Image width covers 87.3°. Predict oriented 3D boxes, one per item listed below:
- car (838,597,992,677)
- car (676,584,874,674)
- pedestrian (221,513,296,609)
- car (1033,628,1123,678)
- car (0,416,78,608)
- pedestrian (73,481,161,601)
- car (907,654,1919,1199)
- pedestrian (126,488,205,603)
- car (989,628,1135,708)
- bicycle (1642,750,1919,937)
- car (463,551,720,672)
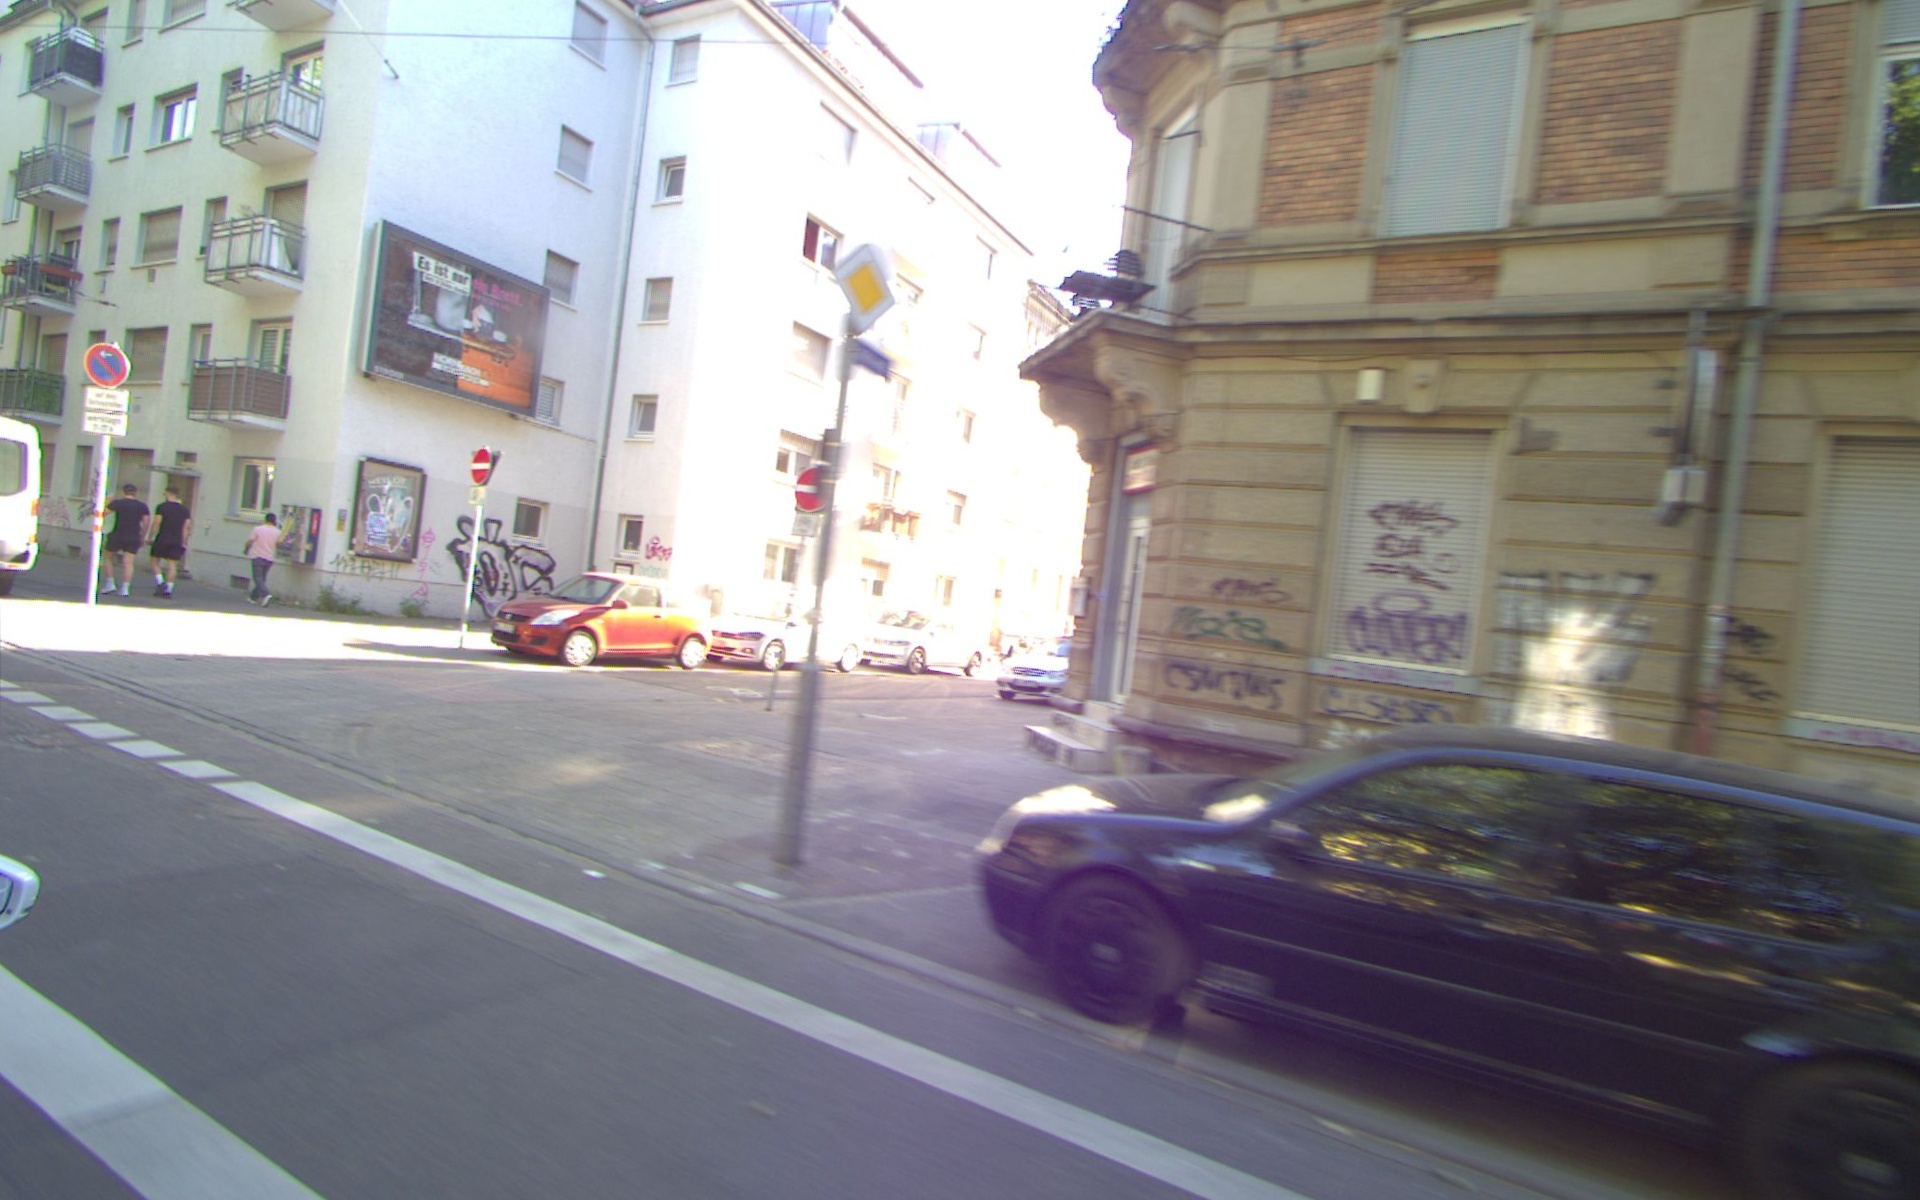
[{"bbox_3d":[-1.049,0.998,25.766,1.760,1.656,4.254,7,-1,31],"label":"car"},{"bbox_3d":[-3.744,0.660,21.097,1.760,1.472,4.032,7,-1,31],"label":"car"},{"bbox_3d":[-12.641,-0.705,18.132,0.917,1.598,0.633,6,-2,32],"label":"pedestrian"},{"bbox_3d":[4.181,1.881,35.048,1.633,1.423,4.148,7,-1,28],"label":"car"},{"bbox_3d":[-15.689,-1.515,14.731,5.984,2.525,2.153,6,-1,29],"label":"car"},{"bbox_3d":[-13.950,-0.973,16.641,1.064,1.846,0.710,6,1,32],"label":"pedestrian"},{"bbox_3d":[1.957,1.201,4.400,3.989,1.439,1.651,6,1,27],"label":"car"},{"bbox_3d":[-13.598,-0.938,17.213,1.064,1.846,0.625,6,1,32],"label":"pedestrian"},{"bbox_3d":[2.282,1.455,21.433,1.672,1.394,3.996,4,-2,27],"label":"car"},{"bbox_3d":[6.333,1.817,7.669,1.774,1.013,0.378,7,0,35],"label":"bicycle"},{"bbox_3d":[-6.101,0.261,17.049,1.760,1.593,3.656,8,-1,31],"label":"car"}]
